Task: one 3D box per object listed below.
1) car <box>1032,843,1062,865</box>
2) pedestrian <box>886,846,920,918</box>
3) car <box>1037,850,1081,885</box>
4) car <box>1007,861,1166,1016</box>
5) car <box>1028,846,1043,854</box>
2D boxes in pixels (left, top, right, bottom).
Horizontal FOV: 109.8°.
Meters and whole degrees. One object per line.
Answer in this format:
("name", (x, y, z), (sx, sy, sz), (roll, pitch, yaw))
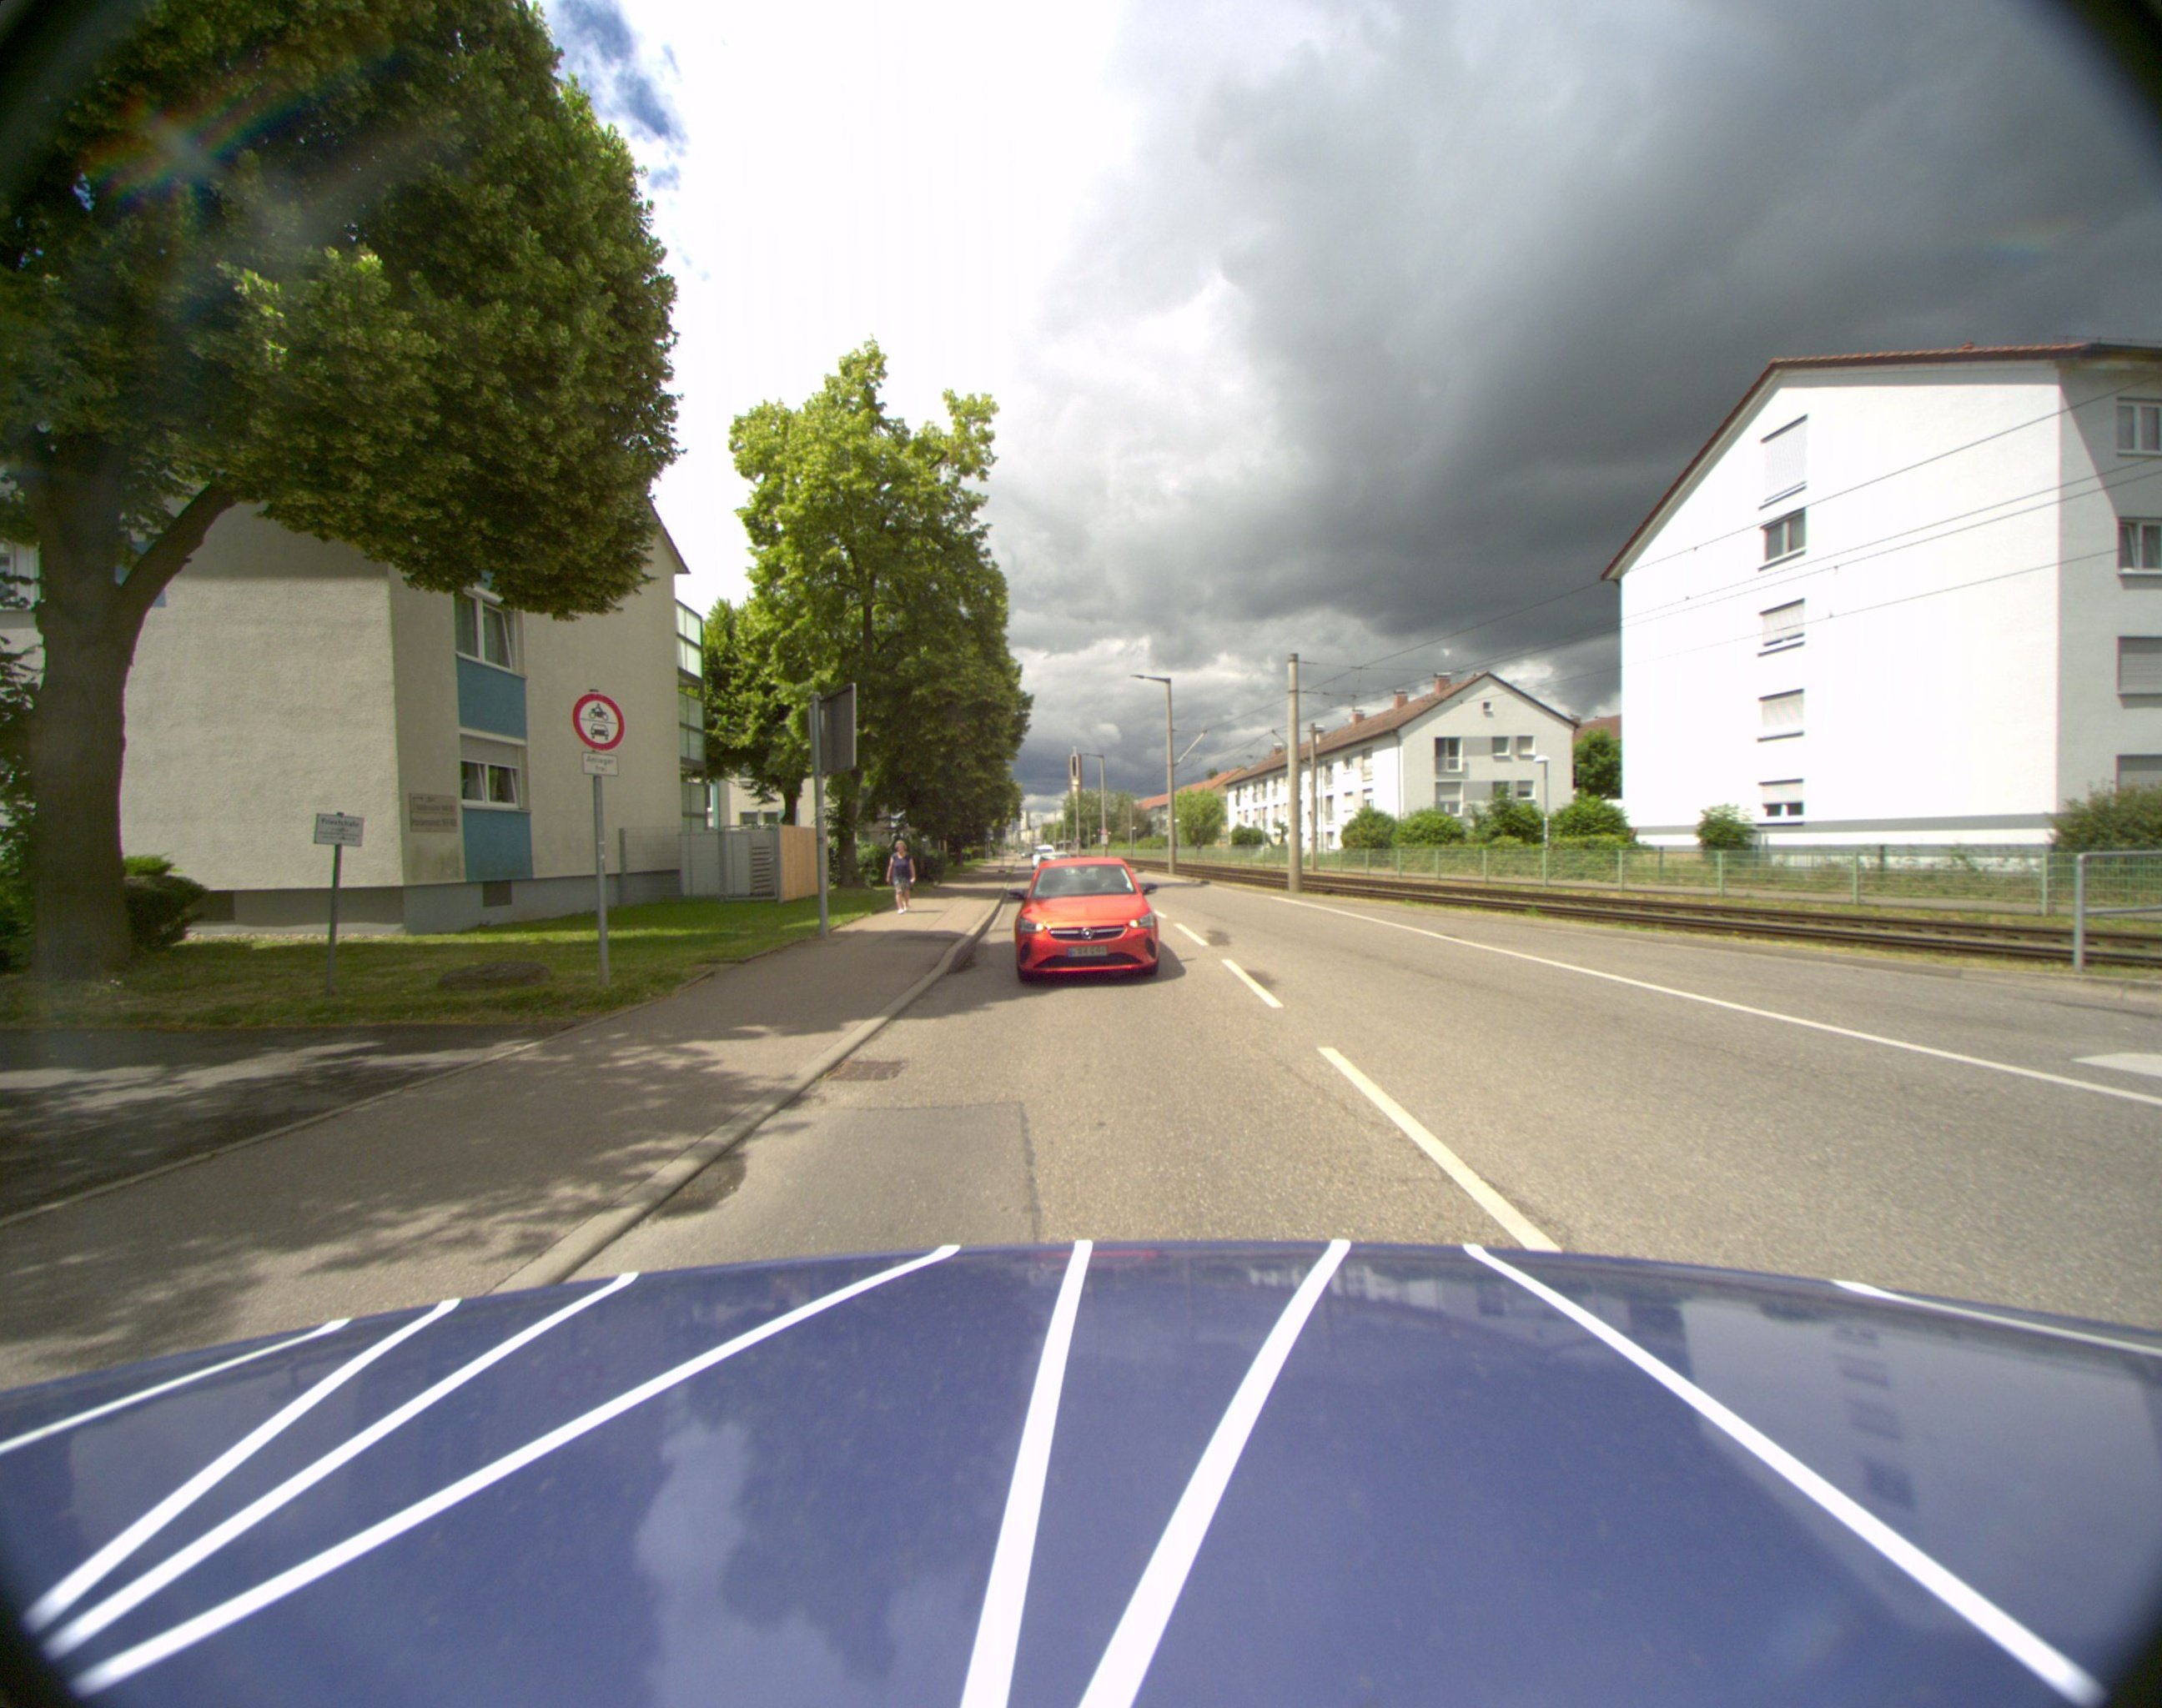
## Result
("car", (-2.645, -0.003, 57.827), (2.000, 1.598, 3.997), (-1, 1, -6))
("pedestrian", (-4.168, 0.636, 17.835), (0.684, 1.651, 0.831), (-1, 1, -10))
("car", (-0.993, 0.533, 32.504), (1.764, 1.390, 3.998), (0, 1, -3))
("car", (-0.042, 0.972, 10.527), (1.766, 1.549, 3.997), (1, 2, -3))
("car", (-7.470, -0.715, 125.708), (1.918, 1.309, 4.000), (0, 1, 4))
